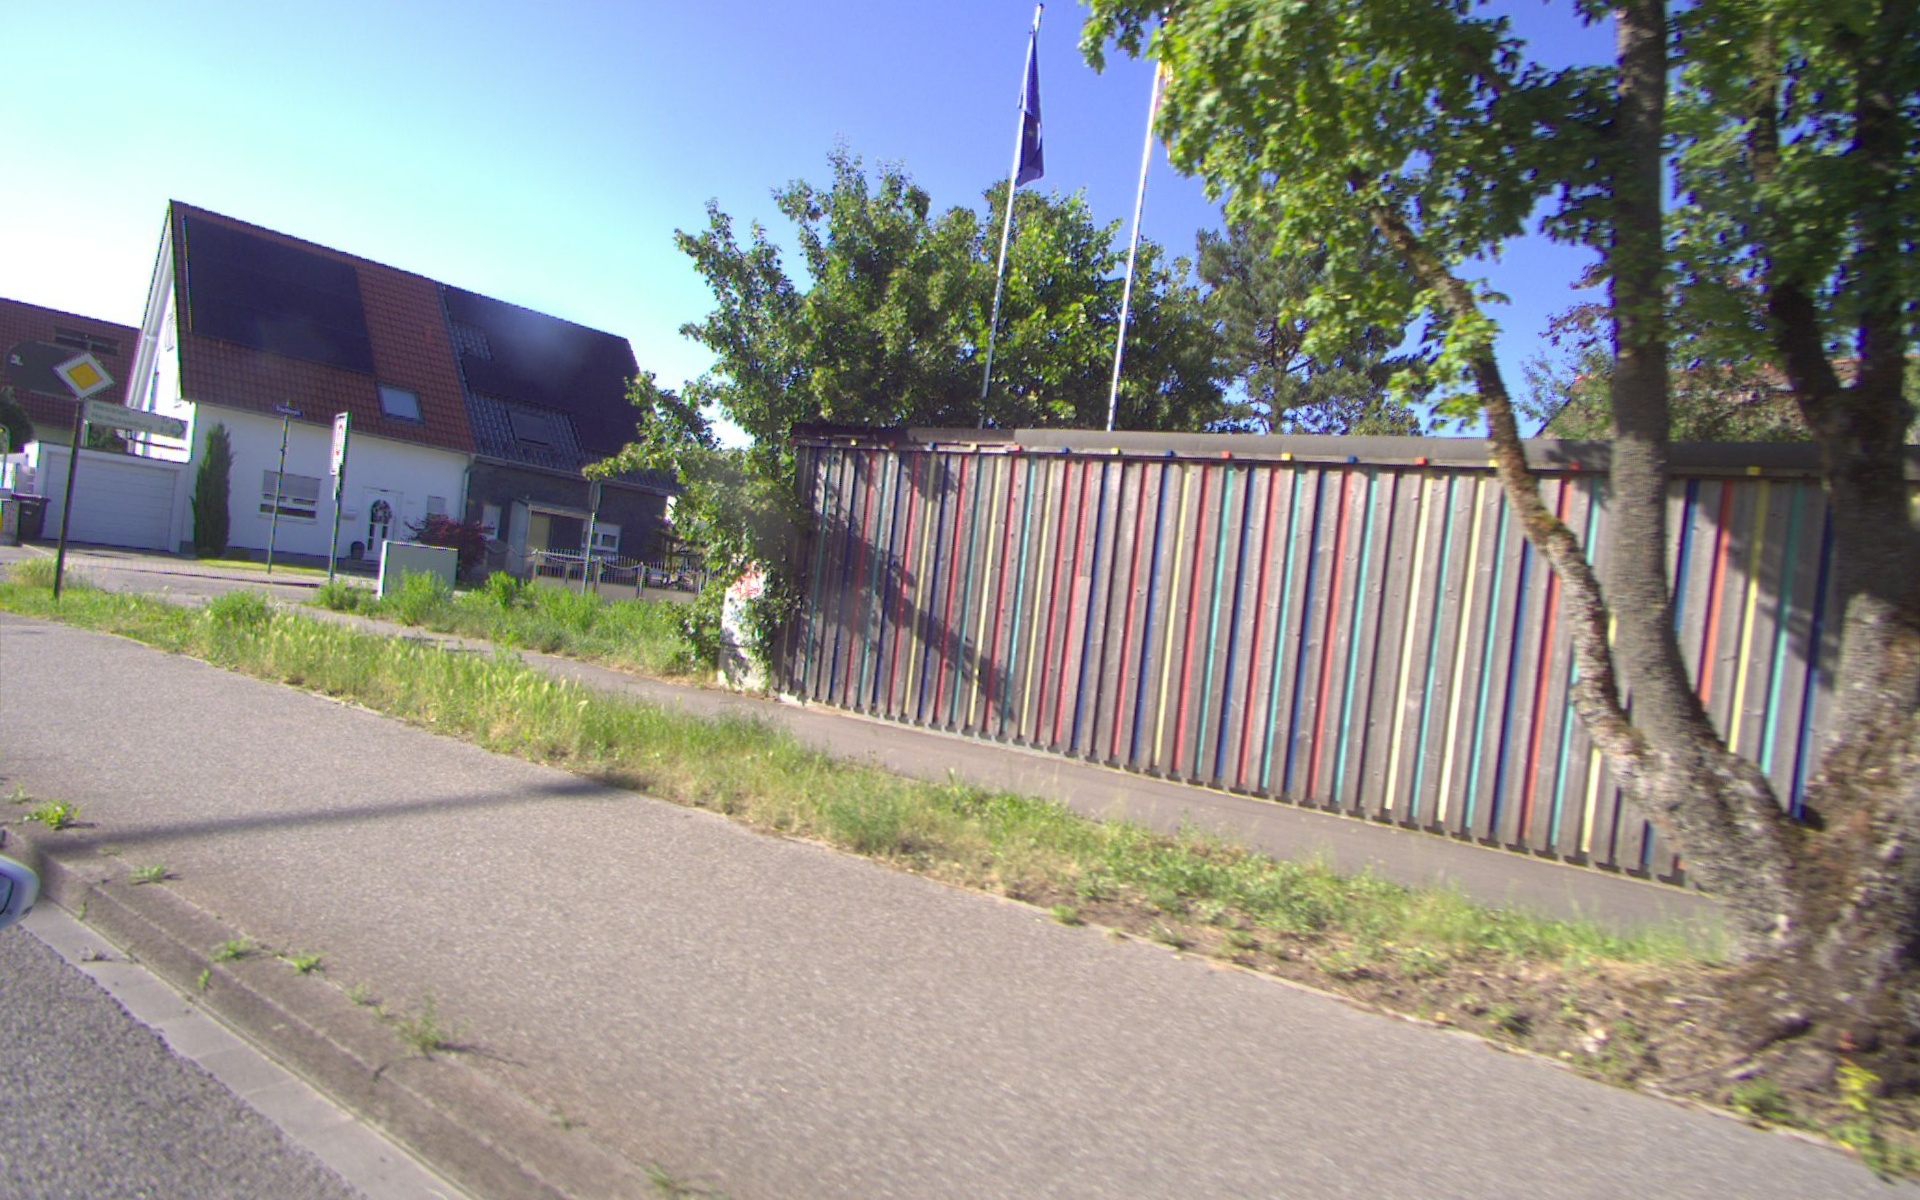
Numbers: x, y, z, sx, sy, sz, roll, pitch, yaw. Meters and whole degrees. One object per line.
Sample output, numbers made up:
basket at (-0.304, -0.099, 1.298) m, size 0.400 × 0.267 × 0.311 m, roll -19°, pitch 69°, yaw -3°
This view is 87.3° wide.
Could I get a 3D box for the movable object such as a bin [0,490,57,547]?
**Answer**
movable object such as a bin at (-22.309, -1.940, 23.968) m, size 1.047 × 1.221 × 1.000 m, roll 6°, pitch 1°, yaw 39°
